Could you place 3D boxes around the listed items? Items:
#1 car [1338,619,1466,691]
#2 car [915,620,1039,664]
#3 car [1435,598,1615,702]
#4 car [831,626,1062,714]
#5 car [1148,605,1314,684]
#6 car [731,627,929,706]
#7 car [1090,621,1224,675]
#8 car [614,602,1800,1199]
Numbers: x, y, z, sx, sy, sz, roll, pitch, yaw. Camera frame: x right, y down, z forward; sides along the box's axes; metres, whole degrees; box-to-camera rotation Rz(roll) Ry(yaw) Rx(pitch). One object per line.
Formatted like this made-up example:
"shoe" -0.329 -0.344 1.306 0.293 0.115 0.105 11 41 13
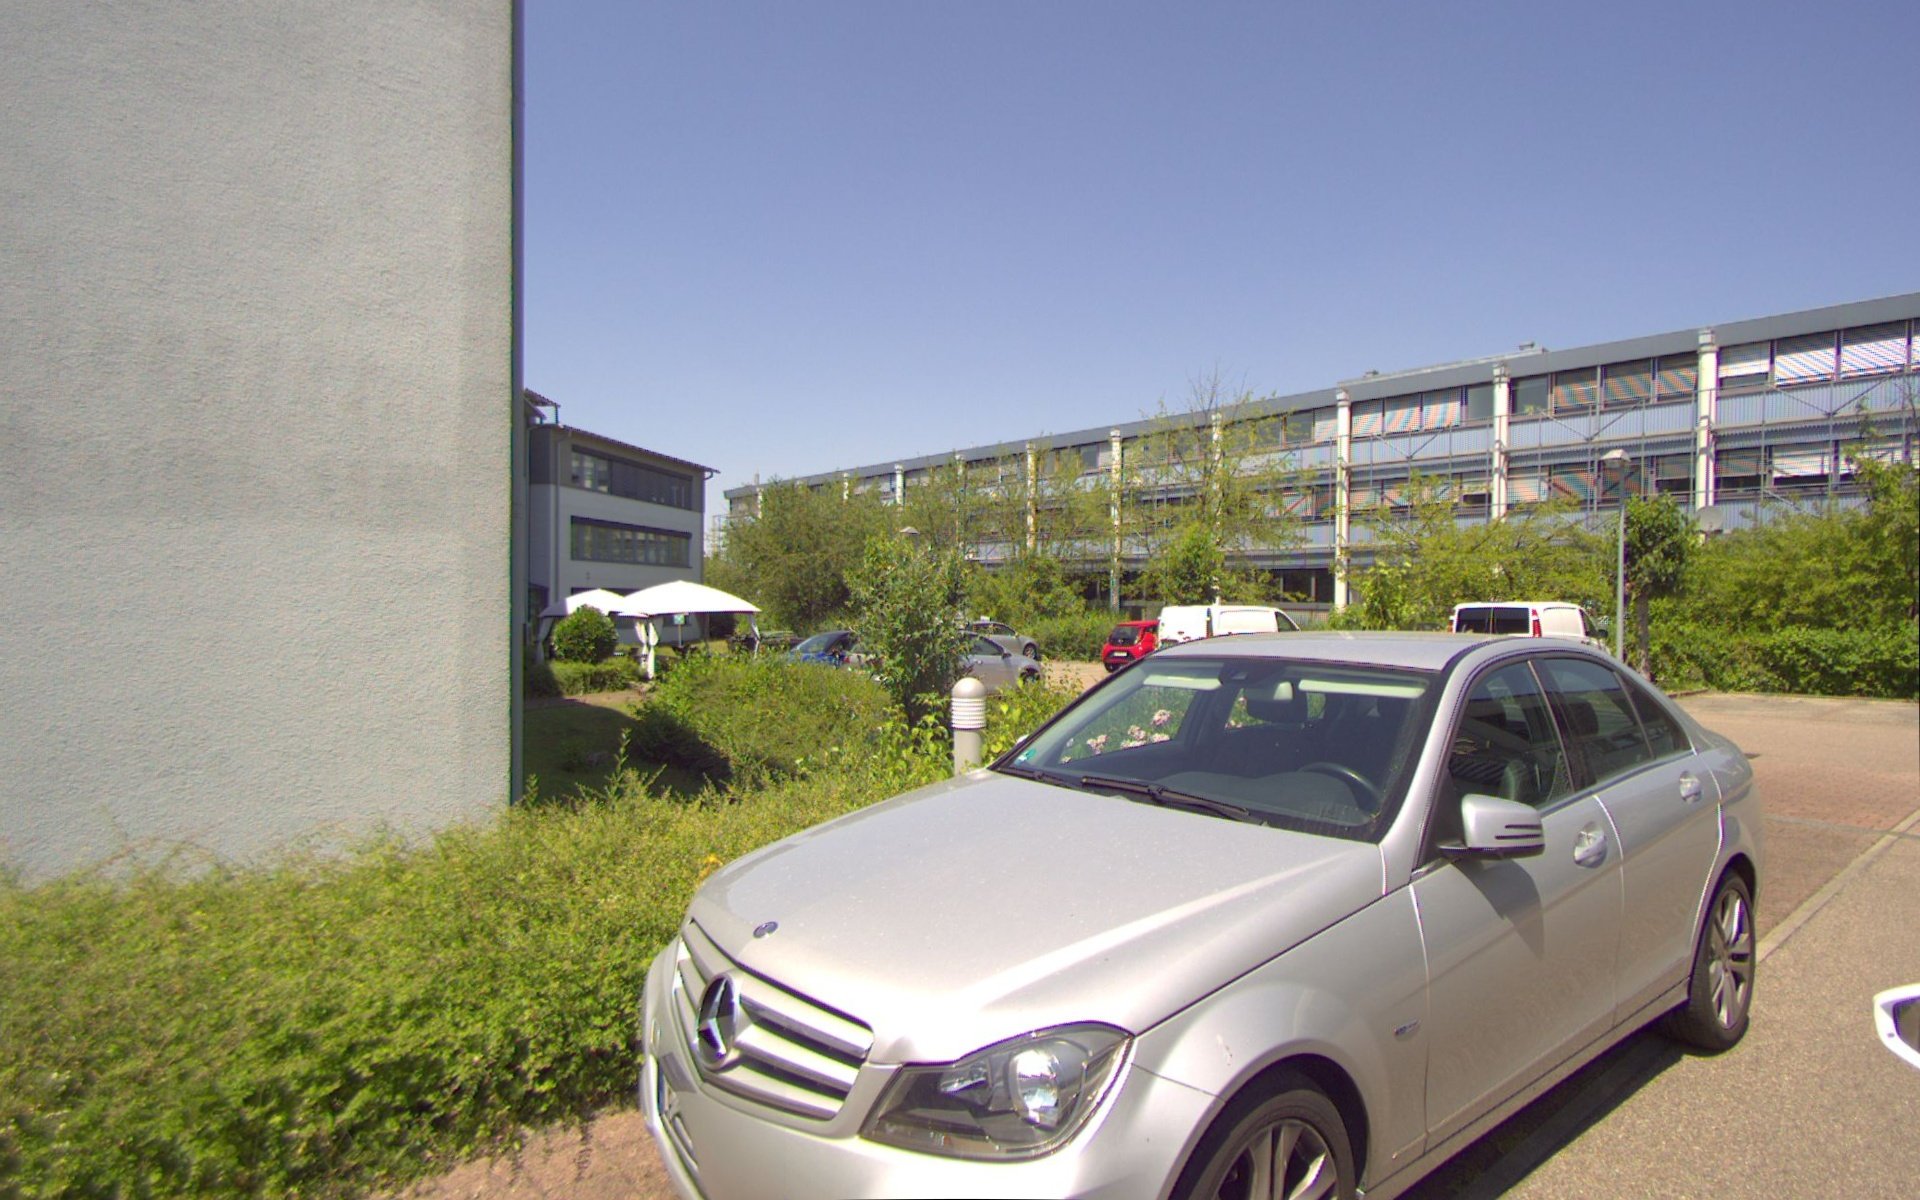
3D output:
"car" 10.417 1.218 23.531 1.733 1.496 3.981 -1 -1 40
"car" 0.639 1.439 35.277 4.133 1.425 1.853 0 0 -38
"car" 11.955 0.954 21.106 4.772 1.930 1.895 0 -1 -42
"car" -0.176 1.285 19.813 4.449 1.492 1.841 1 -1 -42
"car" 7.224 1.091 26.518 4.763 1.916 1.866 0 0 -40
"car" -2.871 1.410 22.490 3.964 1.481 1.978 -1 0 -38
"car" 5.864 1.368 29.718 3.965 1.460 1.768 1 -1 -39
"car" 1.180 0.796 3.371 4.111 1.476 1.716 1 -2 -38
